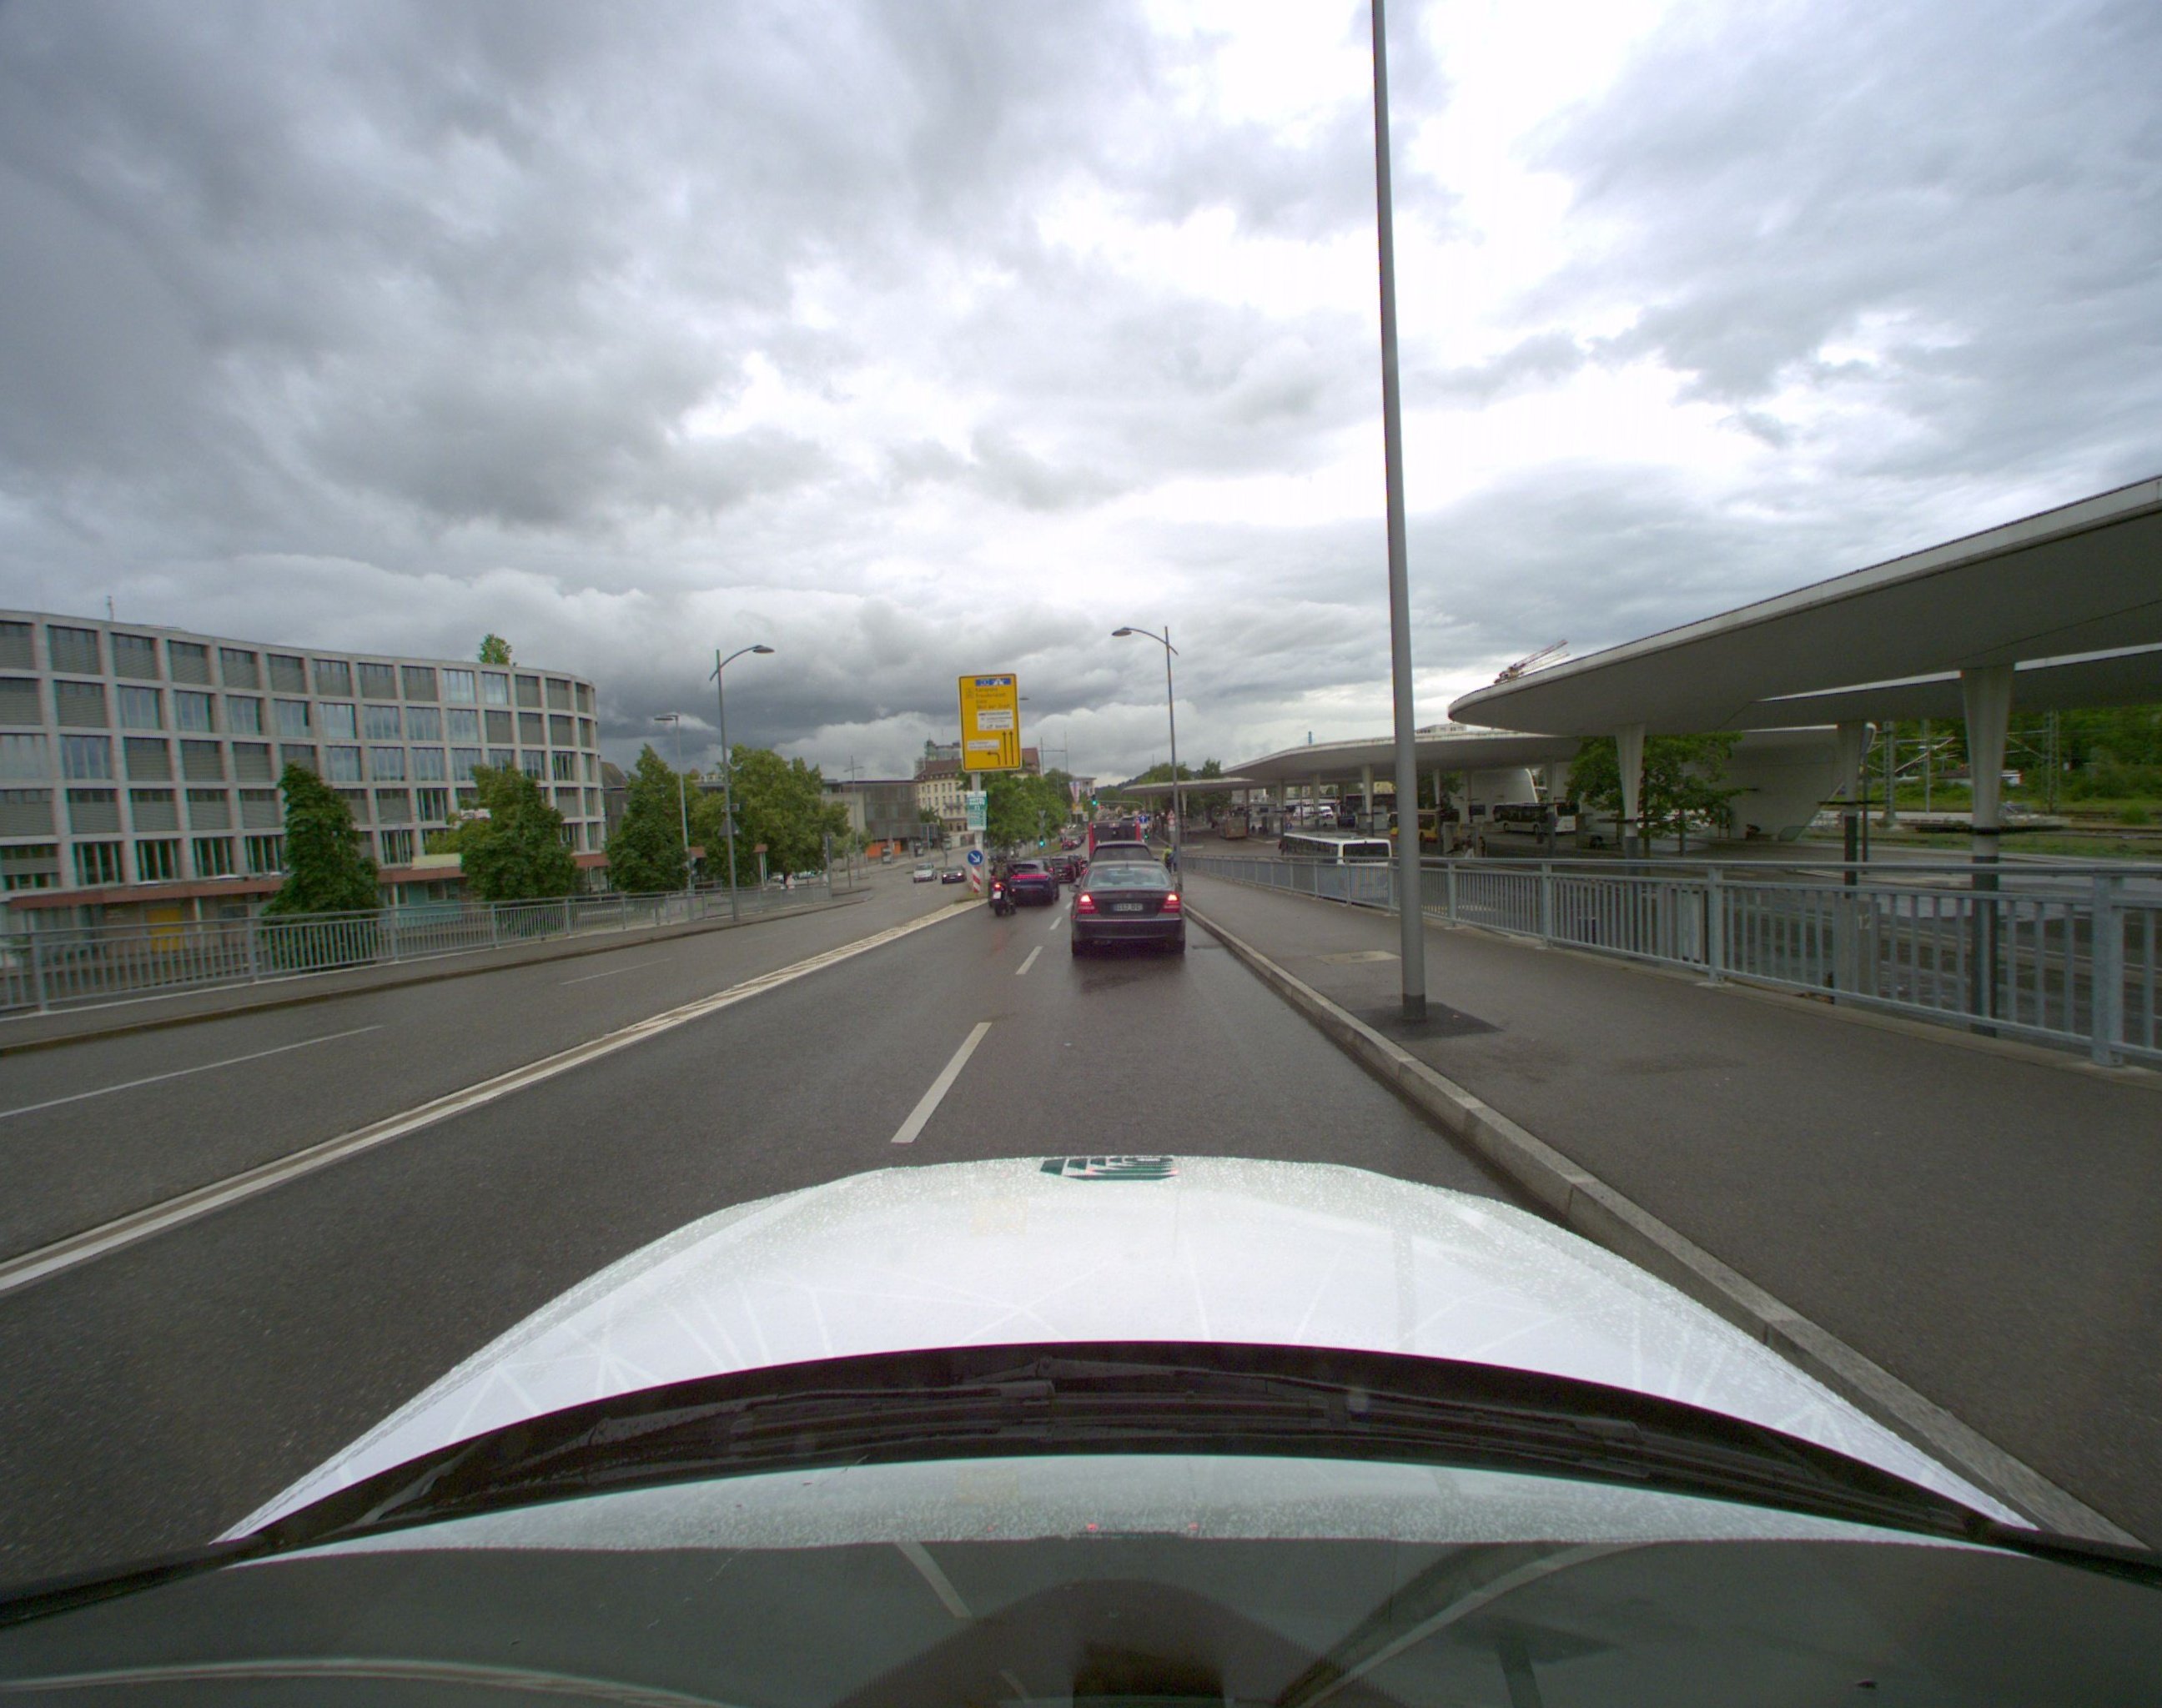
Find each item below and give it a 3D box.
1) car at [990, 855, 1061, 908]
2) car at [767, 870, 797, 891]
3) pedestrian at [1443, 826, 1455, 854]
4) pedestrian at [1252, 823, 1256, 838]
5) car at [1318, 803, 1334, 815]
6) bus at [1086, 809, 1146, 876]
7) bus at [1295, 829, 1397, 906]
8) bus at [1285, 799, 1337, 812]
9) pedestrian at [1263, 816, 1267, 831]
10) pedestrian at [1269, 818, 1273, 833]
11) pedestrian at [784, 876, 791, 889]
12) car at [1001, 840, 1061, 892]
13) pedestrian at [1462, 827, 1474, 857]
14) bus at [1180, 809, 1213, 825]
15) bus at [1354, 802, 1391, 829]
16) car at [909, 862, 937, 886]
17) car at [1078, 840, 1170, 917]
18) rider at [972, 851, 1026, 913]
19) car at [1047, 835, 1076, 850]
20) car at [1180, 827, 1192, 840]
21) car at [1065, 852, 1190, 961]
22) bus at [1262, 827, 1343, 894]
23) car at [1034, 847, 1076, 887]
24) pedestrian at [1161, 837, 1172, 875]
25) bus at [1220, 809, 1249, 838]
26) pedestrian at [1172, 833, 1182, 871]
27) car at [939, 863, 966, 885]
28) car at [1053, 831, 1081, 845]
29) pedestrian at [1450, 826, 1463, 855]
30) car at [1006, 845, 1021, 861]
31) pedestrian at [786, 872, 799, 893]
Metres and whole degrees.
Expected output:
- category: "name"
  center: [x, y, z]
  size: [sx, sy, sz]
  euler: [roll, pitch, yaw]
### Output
- category: "car"
  center: [-1.669, 0.809, 25.644]
  size: [1.753, 1.436, 4.003]
  euler: [-1, 1, 2]
- category: "car"
  center: [-31.707, 2.772, 86.178]
  size: [2.008, 2.013, 3.958]
  euler: [1, 1, -35]
- category: "pedestrian"
  center: [26.885, -1.021, 59.480]
  size: [0.541, 2.013, 0.580]
  euler: [-3, 0, 3]
- category: "pedestrian"
  center: [23.504, -3.213, 110.482]
  size: [0.422, 2.013, 0.484]
  euler: [-3, 0, 4]
- category: "car"
  center: [47.863, -8.802, 159.280]
  size: [1.986, 2.013, 4.002]
  euler: [-3, 2, 2]
- category: "bus"
  center: [1.866, -0.593, 44.471]
  size: [2.816, 3.189, 10.314]
  euler: [-2, 0, 2]
- category: "bus"
  center: [13.068, 0.492, 40.799]
  size: [2.639, 3.235, 7.070]
  euler: [0, 4, -1]
- category: "bus"
  center: [48.426, -10.254, 171.519]
  size: [10.139, 2.013, 2.169]
  euler: [-3, 1, -1]
- category: "pedestrian"
  center: [25.903, -4.253, 114.532]
  size: [0.422, 2.013, 0.484]
  euler: [-3, 0, 4]
- category: "pedestrian"
  center: [25.917, -3.878, 111.038]
  size: [0.422, 2.014, 0.484]
  euler: [-3, -2, 4]
- category: "pedestrian"
  center: [-20.601, 1.980, 57.230]
  size: [0.299, 0.873, 0.299]
  euler: [-3, 2, 4]
- category: "car"
  center: [-2.016, 0.443, 33.889]
  size: [1.985, 2.006, 4.003]
  euler: [-1, 1, 3]
- category: "pedestrian"
  center: [26.255, -0.830, 55.253]
  size: [0.558, 2.013, 0.484]
  euler: [-3, 0, 4]
- category: "bus"
  center: [27.401, -8.677, 193.095]
  size: [7.179, 3.396, 3.080]
  euler: [-3, 2, -2]
- category: "bus"
  center: [38.009, -5.014, 106.365]
  size: [2.588, 3.209, 7.003]
  euler: [-3, 2, 4]
- category: "car"
  center: [-14.619, 1.836, 75.458]
  size: [1.991, 2.013, 3.992]
  euler: [-3, 0, -5]
- category: "car"
  center: [1.169, 0.518, 20.199]
  size: [1.816, 1.687, 4.010]
  euler: [-1, 1, 9]
- category: "rider"
  center: [-2.084, 0.686, 21.029]
  size: [0.876, 1.472, 2.201]
  euler: [-1, 1, 8]
- category: "car"
  center: [-2.941, -1.781, 121.629]
  size: [3.967, 2.013, 2.004]
  euler: [-3, 1, 6]
- category: "car"
  center: [18.024, -3.560, 139.975]
  size: [1.982, 2.013, 4.009]
  euler: [-3, 1, 8]
- category: "car"
  center: [0.737, 0.721, 13.047]
  size: [1.699, 1.419, 3.729]
  euler: [-1, 1, 3]
- category: "bus"
  center: [12.885, 0.260, 47.956]
  size: [2.638, 3.235, 7.070]
  euler: [-3, 4, -1]
- category: "car"
  center: [-1.382, 0.673, 44.343]
  size: [1.986, 2.006, 4.002]
  euler: [-1, 1, 1]
- category: "pedestrian"
  center: [4.645, 0.103, 44.291]
  size: [0.487, 2.014, 0.470]
  euler: [-3, -2, 4]
- category: "bus"
  center: [21.514, -4.181, 114.396]
  size: [3.161, 3.600, 10.531]
  euler: [-3, 1, 7]
- category: "pedestrian"
  center: [5.208, -0.109, 44.214]
  size: [0.422, 2.014, 0.484]
  euler: [-3, -2, 4]
- category: "car"
  center: [-10.729, 1.606, 68.318]
  size: [1.830, 1.526, 4.586]
  euler: [-4, 1, -5]
- category: "car"
  center: [-2.210, -2.563, 127.749]
  size: [3.967, 2.013, 2.004]
  euler: [-3, 1, 6]
- category: "pedestrian"
  center: [26.698, -0.952, 57.900]
  size: [0.541, 2.013, 0.580]
  euler: [-3, 0, 3]
- category: "car"
  center: [-9.430, -0.085, 113.770]
  size: [1.990, 2.013, 4.195]
  euler: [-3, -1, -5]
- category: "pedestrian"
  center: [-20.303, 2.026, 57.287]
  size: [0.645, 1.408, 0.531]
  euler: [-3, 2, 4]
